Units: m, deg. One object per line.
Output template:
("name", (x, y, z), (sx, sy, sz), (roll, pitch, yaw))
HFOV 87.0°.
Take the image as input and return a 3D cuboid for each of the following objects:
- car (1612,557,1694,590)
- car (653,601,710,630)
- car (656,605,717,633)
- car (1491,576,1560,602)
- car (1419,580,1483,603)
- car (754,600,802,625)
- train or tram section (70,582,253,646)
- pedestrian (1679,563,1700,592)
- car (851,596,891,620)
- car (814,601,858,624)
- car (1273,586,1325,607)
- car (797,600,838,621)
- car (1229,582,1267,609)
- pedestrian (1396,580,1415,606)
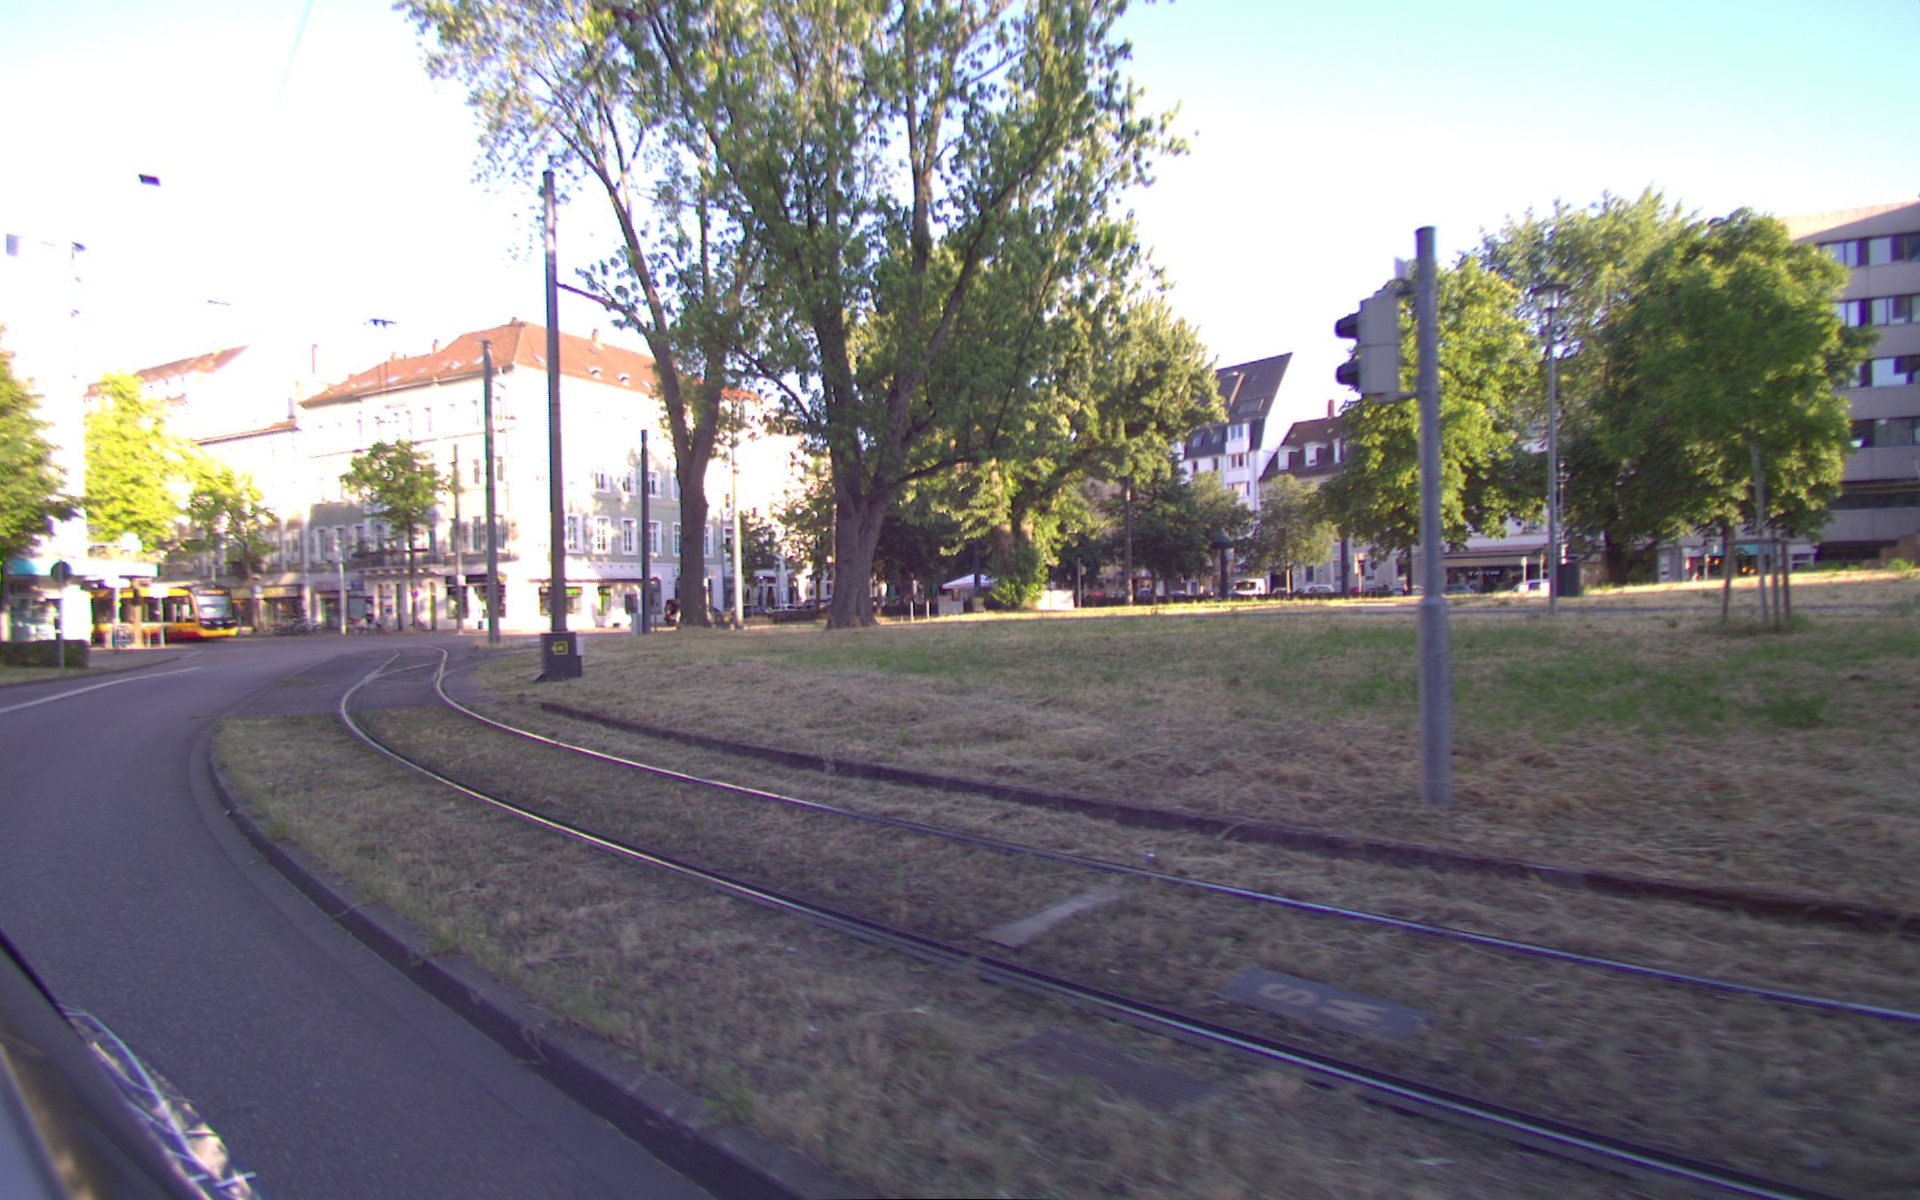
("car", (46.620, -1.746, 68.135), (1.732, 1.959, 4.215), (-2, -1, -41))
("car", (-20.387, 1.119, 74.329), (1.987, 1.918, 3.970), (-3, -1, 22))
("car", (-18.319, 1.244, 67.928), (1.847, 1.719, 3.970), (-3, -1, 22))
("car", (41.729, -0.793, 74.737), (1.732, 1.676, 4.006), (-2, -1, -41))
("car", (38.227, -0.626, 78.851), (1.768, 1.592, 4.008), (-2, -1, -37))
("car", (-14.989, 1.006, 83.566), (1.987, 1.918, 3.970), (-3, -1, 22))
("train or tram section", (-48.555, 0.910, 61.384), (13.287, 3.611, 2.926), (-1, 0, 25))
("pedestrian", (44.702, -1.383, 62.006), (0.787, 1.714, 0.802), (-3, 0, -36))
("car", (-7.736, 0.678, 88.117), (1.847, 2.014, 3.970), (-3, -1, 22))
("car", (-10.124, 0.993, 82.670), (1.847, 1.719, 3.970), (-3, -1, 22))
("car", (29.901, -0.305, 89.459), (1.768, 1.592, 4.008), (-2, -1, -37))
("car", (-12.645, 0.936, 90.138), (1.847, 1.719, 3.970), (-3, -1, 22))
("car", (23.030, -0.400, 80.865), (1.991, 2.029, 3.961), (-3, -1, 29))
("pedestrian", (29.894, -0.478, 67.947), (0.787, 1.714, 0.801), (-2, -1, -39))
